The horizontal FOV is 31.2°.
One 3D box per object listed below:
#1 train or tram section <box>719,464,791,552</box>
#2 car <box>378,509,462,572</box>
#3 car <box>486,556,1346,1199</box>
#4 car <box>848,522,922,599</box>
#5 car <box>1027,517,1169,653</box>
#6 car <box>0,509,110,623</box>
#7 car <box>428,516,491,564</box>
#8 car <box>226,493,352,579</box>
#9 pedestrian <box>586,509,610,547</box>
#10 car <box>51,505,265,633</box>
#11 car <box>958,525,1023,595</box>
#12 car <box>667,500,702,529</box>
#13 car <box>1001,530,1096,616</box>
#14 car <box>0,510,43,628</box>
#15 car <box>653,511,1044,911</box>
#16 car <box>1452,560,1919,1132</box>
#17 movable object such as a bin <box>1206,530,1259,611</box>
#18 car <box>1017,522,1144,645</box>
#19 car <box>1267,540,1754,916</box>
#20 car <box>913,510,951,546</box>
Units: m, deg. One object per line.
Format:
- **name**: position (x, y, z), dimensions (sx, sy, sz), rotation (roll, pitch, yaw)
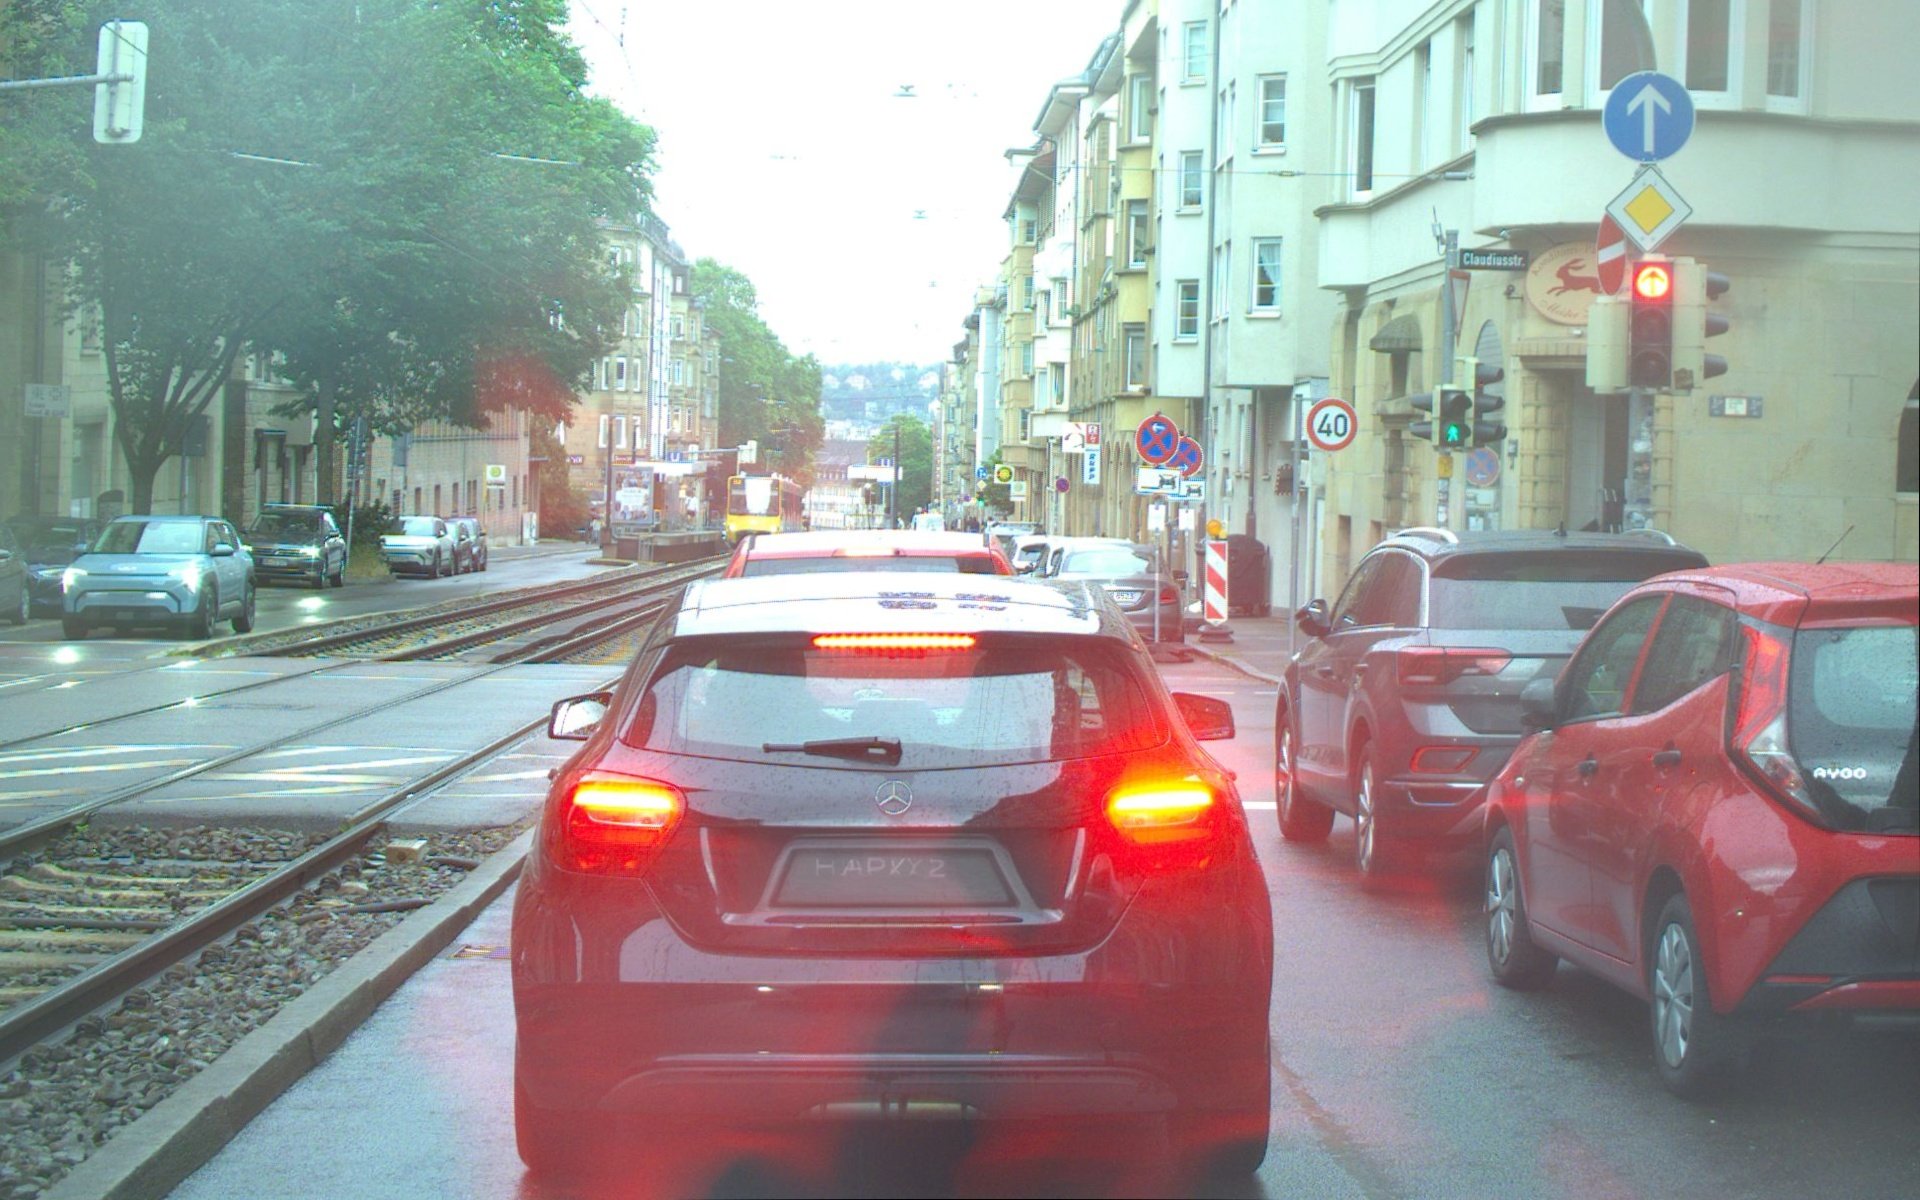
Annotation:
- **train or tram section**: position (-9.505, -4.209, 160.056), dimensions (2.783, 3.847, 10.430), rotation (1, 0, -1)
- **car**: position (-13.993, -1.534, 89.168), dimensions (1.589, 1.575, 3.918), rotation (1, 0, -1)
- **car**: position (-0.122, 0.635, 9.460), dimensions (1.829, 1.453, 4.104), rotation (1, 1, -1)
- **car**: position (-1.652, -0.875, 75.236), dimensions (1.544, 1.630, 3.686), rotation (1, 1, -1)
- **car**: position (1.671, -0.213, 42.643), dimensions (1.544, 1.585, 3.548), rotation (1, 1, -1)
- **car**: position (-13.733, -0.511, 50.726), dimensions (1.716, 1.605, 3.919), rotation (1, 0, -5)
- **car**: position (-14.336, -1.720, 98.577), dimensions (1.448, 1.326, 3.272), rotation (1, 0, -2)
- **car**: position (-13.955, -1.317, 71.705), dimensions (1.875, 1.731, 3.918), rotation (1, 0, -1)
- **pedestrian**: position (-19.241, -3.831, 182.696), dimensions (1.053, 1.951, 1.043), rotation (2, 1, 1)
- **car**: position (-10.455, -0.409, 45.082), dimensions (1.898, 1.582, 3.973), rotation (1, 0, -1)
- **car**: position (0.637, -0.859, 73.597), dimensions (1.294, 1.437, 2.929), rotation (1, 1, -1)
- **car**: position (-12.270, -3.810, 153.176), dimensions (1.377, 1.245, 3.298), rotation (1, 0, -2)
- **car**: position (1.557, -0.503, 61.528), dimensions (1.544, 1.481, 3.548), rotation (1, 1, -1)
- **car**: position (-13.480, -0.423, 45.696), dimensions (1.752, 1.547, 4.036), rotation (1, 0, -4)
- **car**: position (-0.475, 0.433, 15.847), dimensions (1.565, 1.604, 3.814), rotation (1, 0, -1)
- **car**: position (2.654, 0.627, 10.528), dimensions (1.642, 1.443, 3.299), rotation (1, 1, -3)
- **movable object such as a bin**: position (4.715, -0.508, 59.575), dimensions (0.878, 1.384, 0.982), rotation (1, 0, 3)
- **car**: position (1.615, -0.250, 47.119), dimensions (1.544, 1.585, 3.548), rotation (1, 1, -1)
- **car**: position (2.390, 0.483, 15.767), dimensions (1.544, 1.481, 3.830), rotation (1, 1, -1)
- **car**: position (-1.513, -3.896, 186.699), dimensions (1.993, 1.870, 4.000), rotation (1, 0, -1)
